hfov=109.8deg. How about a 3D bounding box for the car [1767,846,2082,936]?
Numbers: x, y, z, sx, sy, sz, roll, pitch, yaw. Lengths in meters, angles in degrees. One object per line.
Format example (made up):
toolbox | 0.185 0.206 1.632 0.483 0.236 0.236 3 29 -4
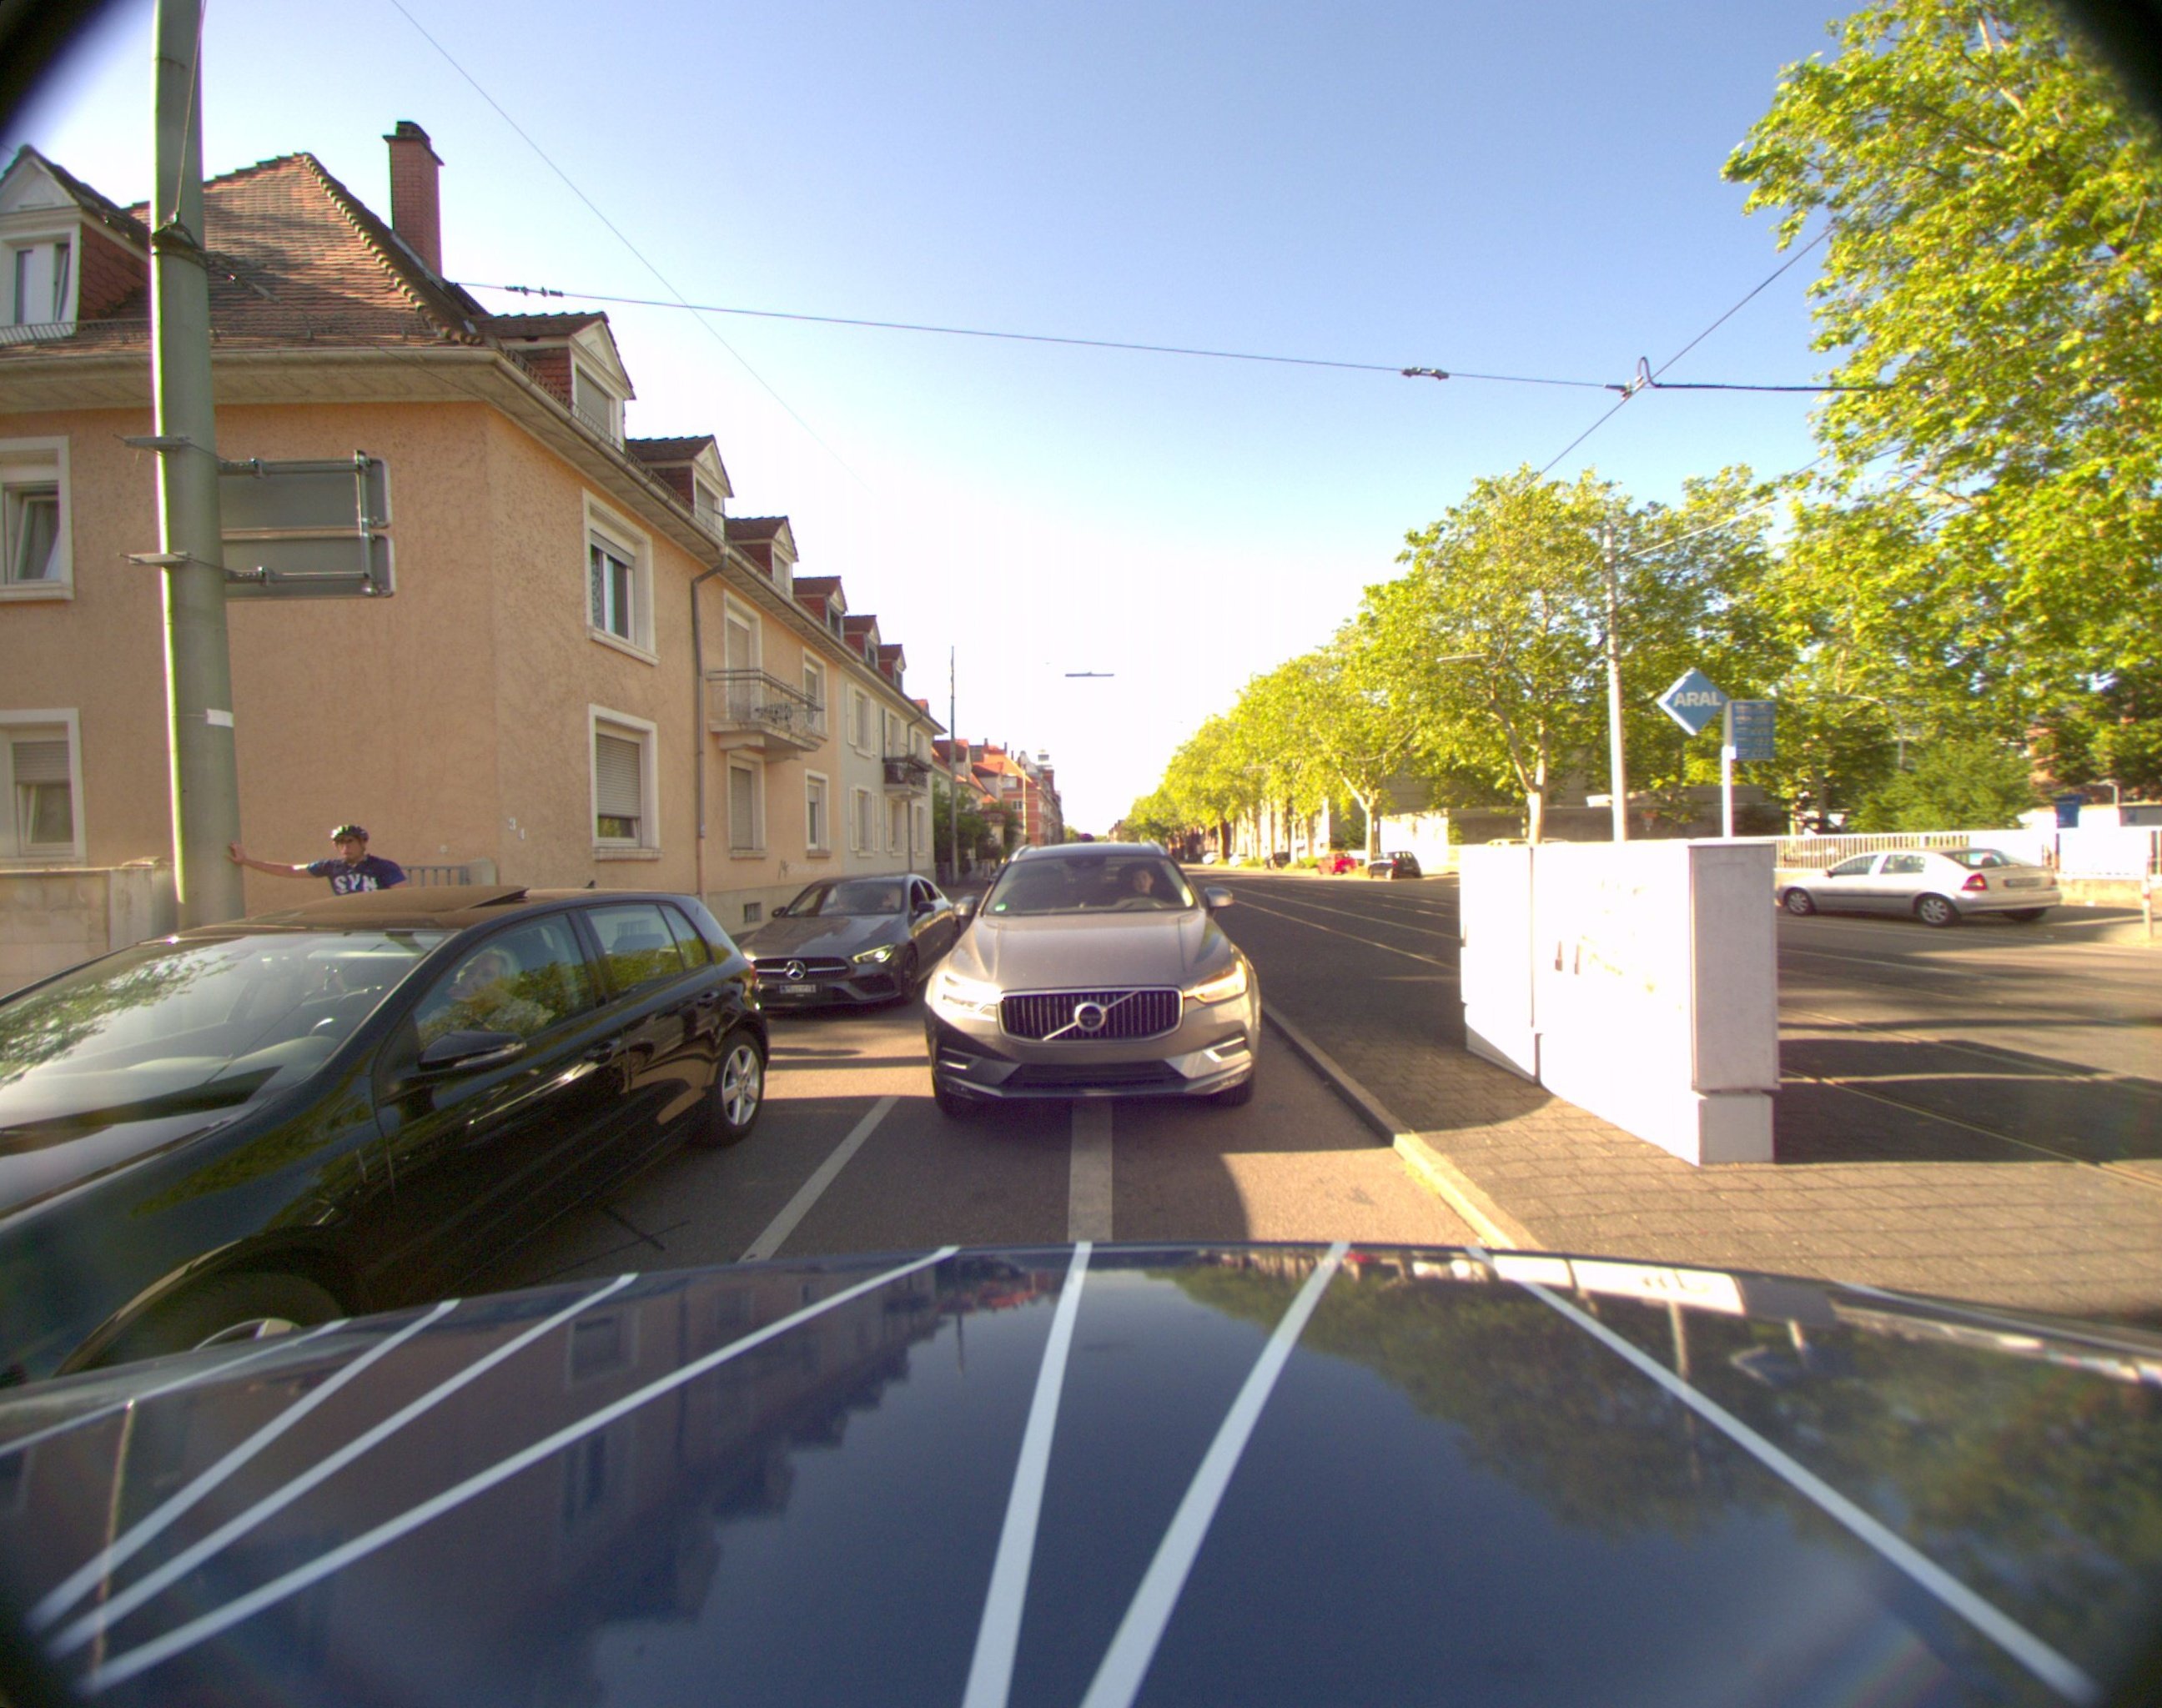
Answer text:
car | 16.198 0.626 14.959 1.687 1.358 3.989 -6 0 1

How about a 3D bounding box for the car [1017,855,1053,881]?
car | -2.793 0.830 46.882 1.825 1.424 4.334 -2 1 1

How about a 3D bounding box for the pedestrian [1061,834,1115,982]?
pedestrian | 0.093 0.674 9.834 0.609 1.832 0.599 -2 1 1

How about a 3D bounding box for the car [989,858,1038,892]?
car | -3.232 0.960 37.146 1.825 1.422 4.334 -2 1 1

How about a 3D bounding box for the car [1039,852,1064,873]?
car | -2.595 0.688 67.286 1.825 1.701 4.334 -2 1 1

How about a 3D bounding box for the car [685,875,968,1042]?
car | -2.711 1.042 9.336 1.825 1.422 4.491 -2 -1 1

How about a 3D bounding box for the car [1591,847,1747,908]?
car | 16.360 0.596 21.386 1.619 1.436 3.606 -5 1 3

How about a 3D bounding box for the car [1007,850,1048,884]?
car | -2.908 0.684 42.401 1.825 1.701 4.334 -2 1 1

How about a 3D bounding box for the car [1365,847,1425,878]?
car | 16.838 0.440 40.876 1.723 1.436 3.769 -5 1 3

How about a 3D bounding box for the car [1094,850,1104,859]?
car | 3.477 0.153 147.388 1.851 1.640 3.999 -2 1 1

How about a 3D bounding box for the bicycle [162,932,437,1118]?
bicycle | -5.911 1.230 5.894 0.556 1.069 1.624 2 0 -7

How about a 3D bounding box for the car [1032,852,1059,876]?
car | -2.783 0.767 60.920 1.825 1.701 4.334 -2 1 1

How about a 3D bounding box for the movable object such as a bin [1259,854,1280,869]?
movable object such as a bin | 14.810 0.597 59.739 1.178 1.097 1.834 -2 1 -2

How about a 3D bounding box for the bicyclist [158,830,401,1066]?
bicyclist | -6.114 0.688 5.858 1.021 1.684 0.729 2 0 -7

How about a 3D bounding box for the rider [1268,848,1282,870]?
rider | 14.918 0.380 58.417 0.725 1.639 1.106 -2 1 -2

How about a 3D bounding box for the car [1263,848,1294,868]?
car | 17.115 0.320 65.976 1.754 1.582 3.878 -5 1 3

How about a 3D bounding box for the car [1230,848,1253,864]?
car | 17.620 0.234 83.473 1.754 1.532 3.878 -5 1 3

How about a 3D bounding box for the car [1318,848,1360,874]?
car | 16.952 0.423 50.062 1.661 1.486 3.377 -5 1 3

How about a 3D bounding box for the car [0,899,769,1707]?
car | -2.803 1.044 2.608 1.717 1.430 3.990 -2 1 1

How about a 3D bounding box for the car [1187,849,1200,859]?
car | 18.555 0.042 125.563 1.661 1.452 3.730 -5 1 3

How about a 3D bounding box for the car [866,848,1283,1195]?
car | 0.120 0.798 5.785 1.924 1.579 4.387 -2 1 4

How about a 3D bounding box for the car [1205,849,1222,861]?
car | 17.575 0.088 100.687 1.661 1.452 3.730 -5 1 3
